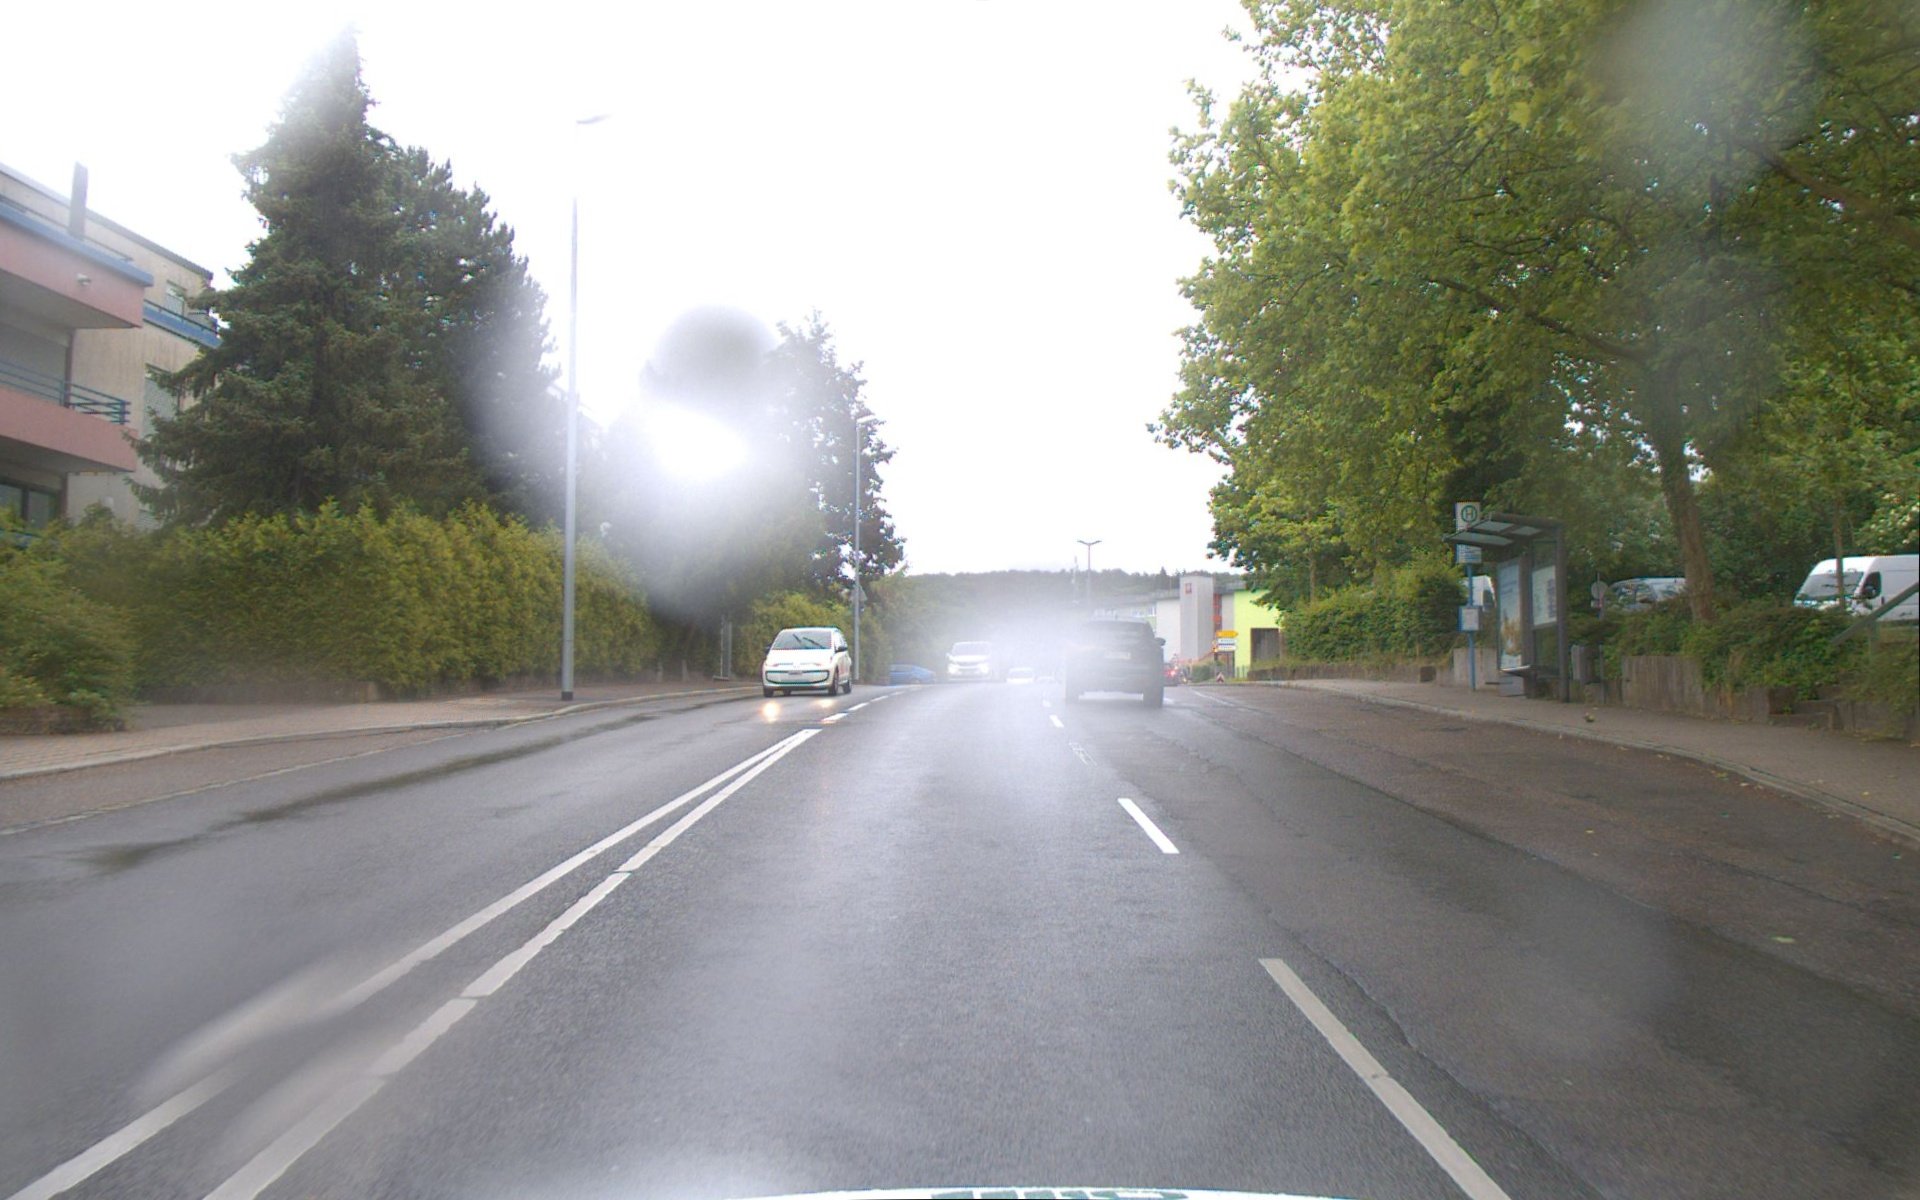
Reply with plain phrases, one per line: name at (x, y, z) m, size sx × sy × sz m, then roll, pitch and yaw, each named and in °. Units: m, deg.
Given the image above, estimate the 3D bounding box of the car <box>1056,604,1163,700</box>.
car at (2.771, 0.926, 31.480) m, size 1.753 × 1.631 × 4.254 m, roll 2°, pitch 0°, yaw 2°

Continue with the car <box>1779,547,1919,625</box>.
car at (26.297, -0.377, 48.038) m, size 5.132 × 2.049 × 1.979 m, roll 2°, pitch 0°, yaw -30°

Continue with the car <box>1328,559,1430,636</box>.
car at (13.082, -0.085, 51.854) m, size 1.954 × 2.265 × 4.131 m, roll 1°, pitch 0°, yaw -3°

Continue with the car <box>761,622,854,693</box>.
car at (-3.334, 1.234, 36.643) m, size 1.650 × 1.479 × 3.398 m, roll 0°, pitch -1°, yaw 1°

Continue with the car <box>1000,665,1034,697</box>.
car at (3.412, 4.828, 98.310) m, size 1.665 × 1.738 × 3.980 m, roll 3°, pitch -3°, yaw 6°

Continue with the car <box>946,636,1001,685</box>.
car at (0.625, 2.528, 69.779) m, size 1.824 × 1.950 × 5.032 m, roll -2°, pitch -2°, yaw 5°

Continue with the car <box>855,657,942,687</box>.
car at (-3.211, 3.795, 86.867) m, size 4.389 × 1.386 × 1.806 m, roll 2°, pitch -1°, yaw 3°

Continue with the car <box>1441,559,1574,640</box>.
car at (16.848, -0.021, 51.150) m, size 2.005 × 2.324 × 5.012 m, roll 2°, pitch 0°, yaw -6°

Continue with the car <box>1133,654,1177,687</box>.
car at (9.397, 3.377, 79.866) m, size 1.951 × 1.467 × 4.002 m, roll 1°, pitch -2°, yaw 4°
